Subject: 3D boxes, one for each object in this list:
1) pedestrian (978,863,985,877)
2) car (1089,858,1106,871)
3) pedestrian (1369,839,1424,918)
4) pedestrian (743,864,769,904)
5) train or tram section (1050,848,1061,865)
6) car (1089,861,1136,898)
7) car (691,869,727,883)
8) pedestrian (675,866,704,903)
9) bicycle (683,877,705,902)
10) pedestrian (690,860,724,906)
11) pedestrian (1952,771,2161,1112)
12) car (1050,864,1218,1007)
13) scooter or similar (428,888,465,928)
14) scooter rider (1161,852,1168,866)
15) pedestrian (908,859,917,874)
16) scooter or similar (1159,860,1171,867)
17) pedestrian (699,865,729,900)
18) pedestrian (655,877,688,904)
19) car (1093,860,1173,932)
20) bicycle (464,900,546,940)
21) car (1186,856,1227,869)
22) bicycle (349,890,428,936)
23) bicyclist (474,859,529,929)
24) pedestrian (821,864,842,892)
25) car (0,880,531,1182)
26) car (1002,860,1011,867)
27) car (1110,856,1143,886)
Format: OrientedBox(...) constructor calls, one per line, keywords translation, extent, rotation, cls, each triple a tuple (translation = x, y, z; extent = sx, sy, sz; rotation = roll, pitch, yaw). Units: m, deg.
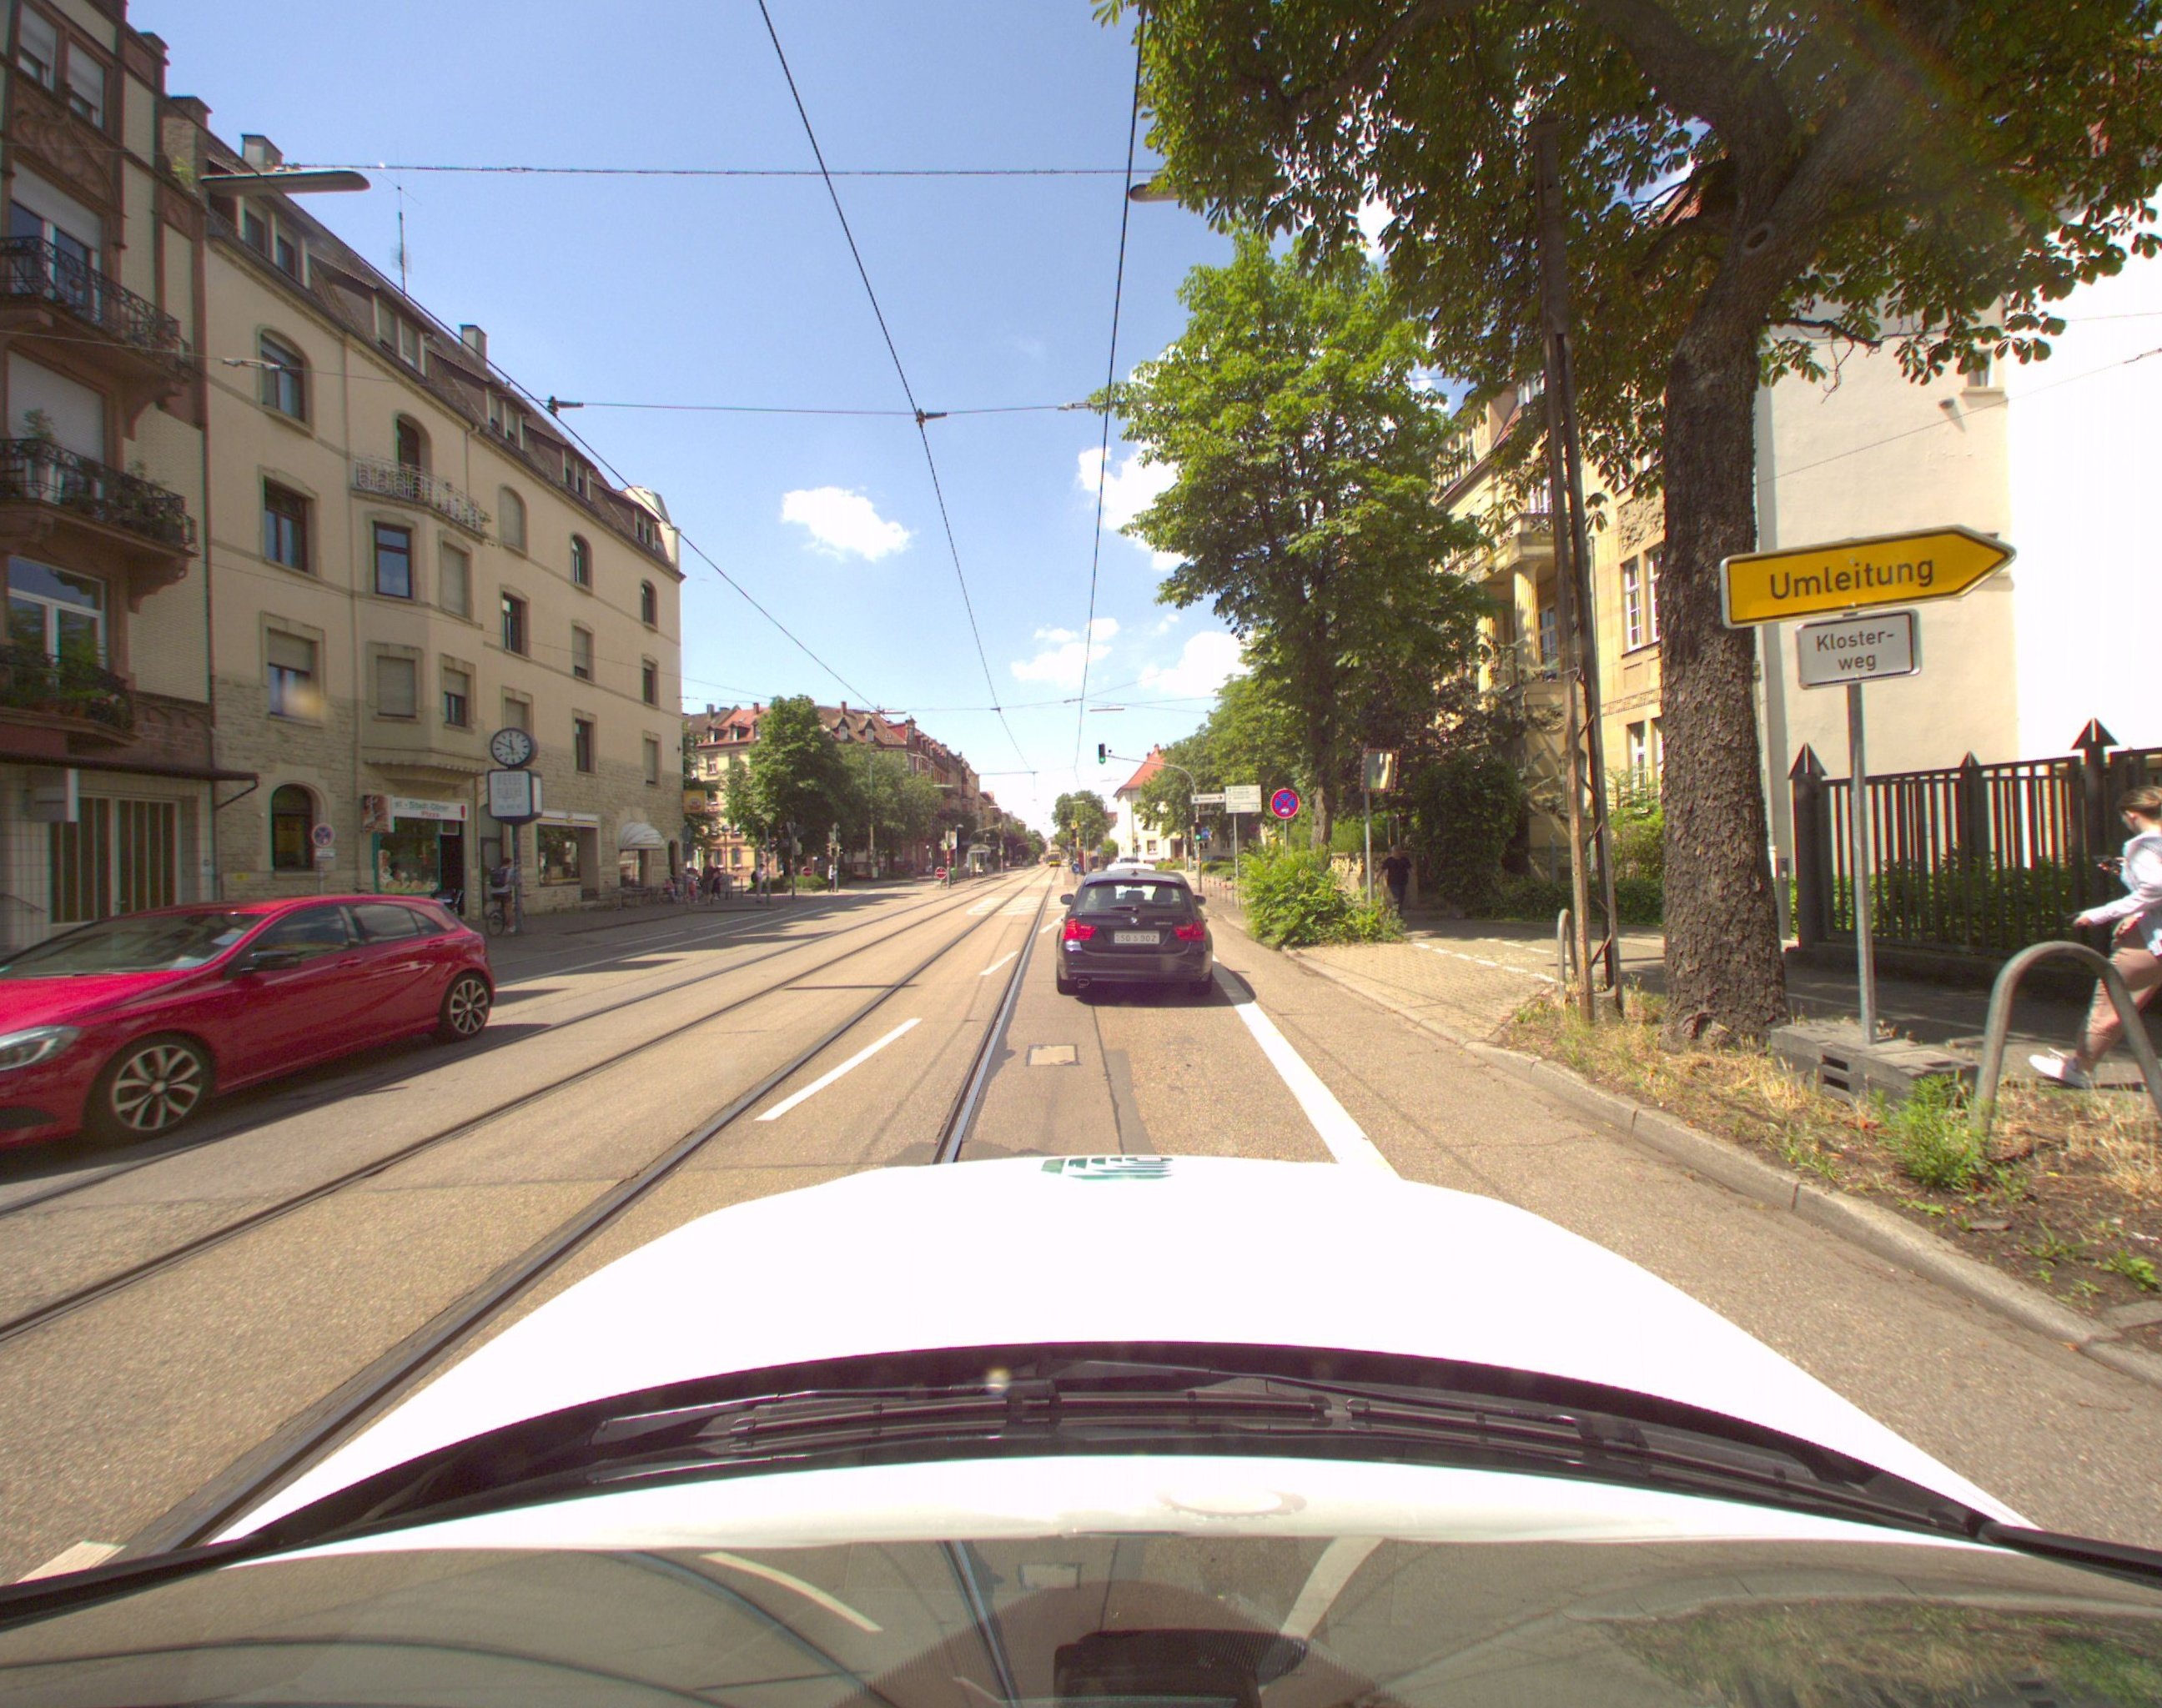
OrientedBox(translation=(-8.650, 1.385, 70.721), extent=(0.613, 1.243, 0.626), rotation=(-2, -1, -7), cls="pedestrian")
OrientedBox(translation=(2.441, 1.506, 120.912), extent=(1.990, 1.849, 3.993), rotation=(-2, 0, -5), cls="car")
OrientedBox(translation=(6.790, 0.520, 17.568), extent=(0.852, 1.645, 0.838), rotation=(-2, -1, 5), cls="pedestrian")
OrientedBox(translation=(-14.366, 1.311, 36.024), extent=(0.857, 1.732, 0.775), rotation=(0, -1, 0), cls="pedestrian")
OrientedBox(translation=(-5.317, 0.486, 172.139), extent=(2.184, 3.482, 8.839), rotation=(-2, 0, -2), cls="train or tram section")
OrientedBox(translation=(1.202, 0.983, 32.675), extent=(1.686, 1.323, 3.820), rotation=(-2, 0, -1), cls="car")
OrientedBox(translation=(-41.227, 2.458, 90.185), extent=(3.429, 1.471, 1.694), rotation=(-2, 0, 23), cls="car")
OrientedBox(translation=(-17.192, 1.328, 35.799), extent=(0.805, 1.595, 0.918), rotation=(-2, -1, -3), cls="pedestrian")
OrientedBox(translation=(-18.366, 1.672, 38.632), extent=(0.547, 1.128, 1.663), rotation=(-1, -3, -38), cls="bicycle")
OrientedBox(translation=(-15.714, 1.190, 34.267), extent=(0.898, 1.891, 1.163), rotation=(-1, -1, -2), cls="pedestrian")
OrientedBox(translation=(5.593, 0.415, 4.360), extent=(0.764, 1.651, 0.974), rotation=(-2, 0, 0), cls="pedestrian")
OrientedBox(translation=(0.698, 0.860, 10.663), extent=(1.715, 1.409, 4.569), rotation=(0, 0, 4), cls="car")
OrientedBox(translation=(-17.475, 1.477, 22.420), extent=(0.700, 1.044, 1.195), rotation=(1, -1, -42), cls="scooter or similar")
OrientedBox(translation=(10.216, 0.629, 99.608), extent=(0.590, 1.687, 0.527), rotation=(-2, -1, -7), cls="scooter rider")
OrientedBox(translation=(-20.421, 1.527, 98.788), extent=(0.633, 1.811, 0.745), rotation=(-2, -1, 40), cls="pedestrian")
OrientedBox(translation=(10.240, 1.117, 99.607), extent=(1.310, 0.837, 0.525), rotation=(-2, -1, -7), cls="scooter or similar")
OrientedBox(translation=(-17.792, 1.391, 39.481), extent=(1.013, 1.635, 0.868), rotation=(-2, -1, 29), cls="pedestrian")
OrientedBox(translation=(-17.695, 1.575, 35.205), extent=(0.913, 1.077, 0.882), rotation=(-2, 0, -1), cls="pedestrian")
OrientedBox(translation=(1.222, 0.928, 19.502), extent=(1.678, 1.484, 3.687), rotation=(-2, 0, 3), cls="car")
OrientedBox(translation=(-14.024, 1.586, 19.903), extent=(0.750, 0.817, 1.818), rotation=(-2, 0, -3), cls="bicycle")
OrientedBox(translation=(13.453, 0.879, 87.391), extent=(3.948, 1.243, 1.634), rotation=(-2, 0, 34), cls="car")
OrientedBox(translation=(-17.221, 1.456, 20.289), extent=(0.366, 1.066, 1.472), rotation=(-1, -2, 22), cls="bicycle")
OrientedBox(translation=(-14.071, 0.953, 19.786), extent=(0.755, 1.663, 0.829), rotation=(0, -1, -5), cls="bicyclist")
OrientedBox(translation=(-15.521, 1.478, 50.744), extent=(0.907, 1.723, 0.846), rotation=(-2, -1, 39), cls="pedestrian")
OrientedBox(translation=(-6.564, 1.024, 6.261), extent=(1.819, 1.413, 4.422), rotation=(-3, 0, -4), cls="car")
OrientedBox(translation=(-17.886, 2.335, 194.991), extent=(1.787, 1.586, 3.986), rotation=(0, -1, -10), cls="car")
OrientedBox(translation=(2.467, 0.914, 44.636), extent=(1.684, 1.514, 3.823), rotation=(-1, 0, 2), cls="car")
